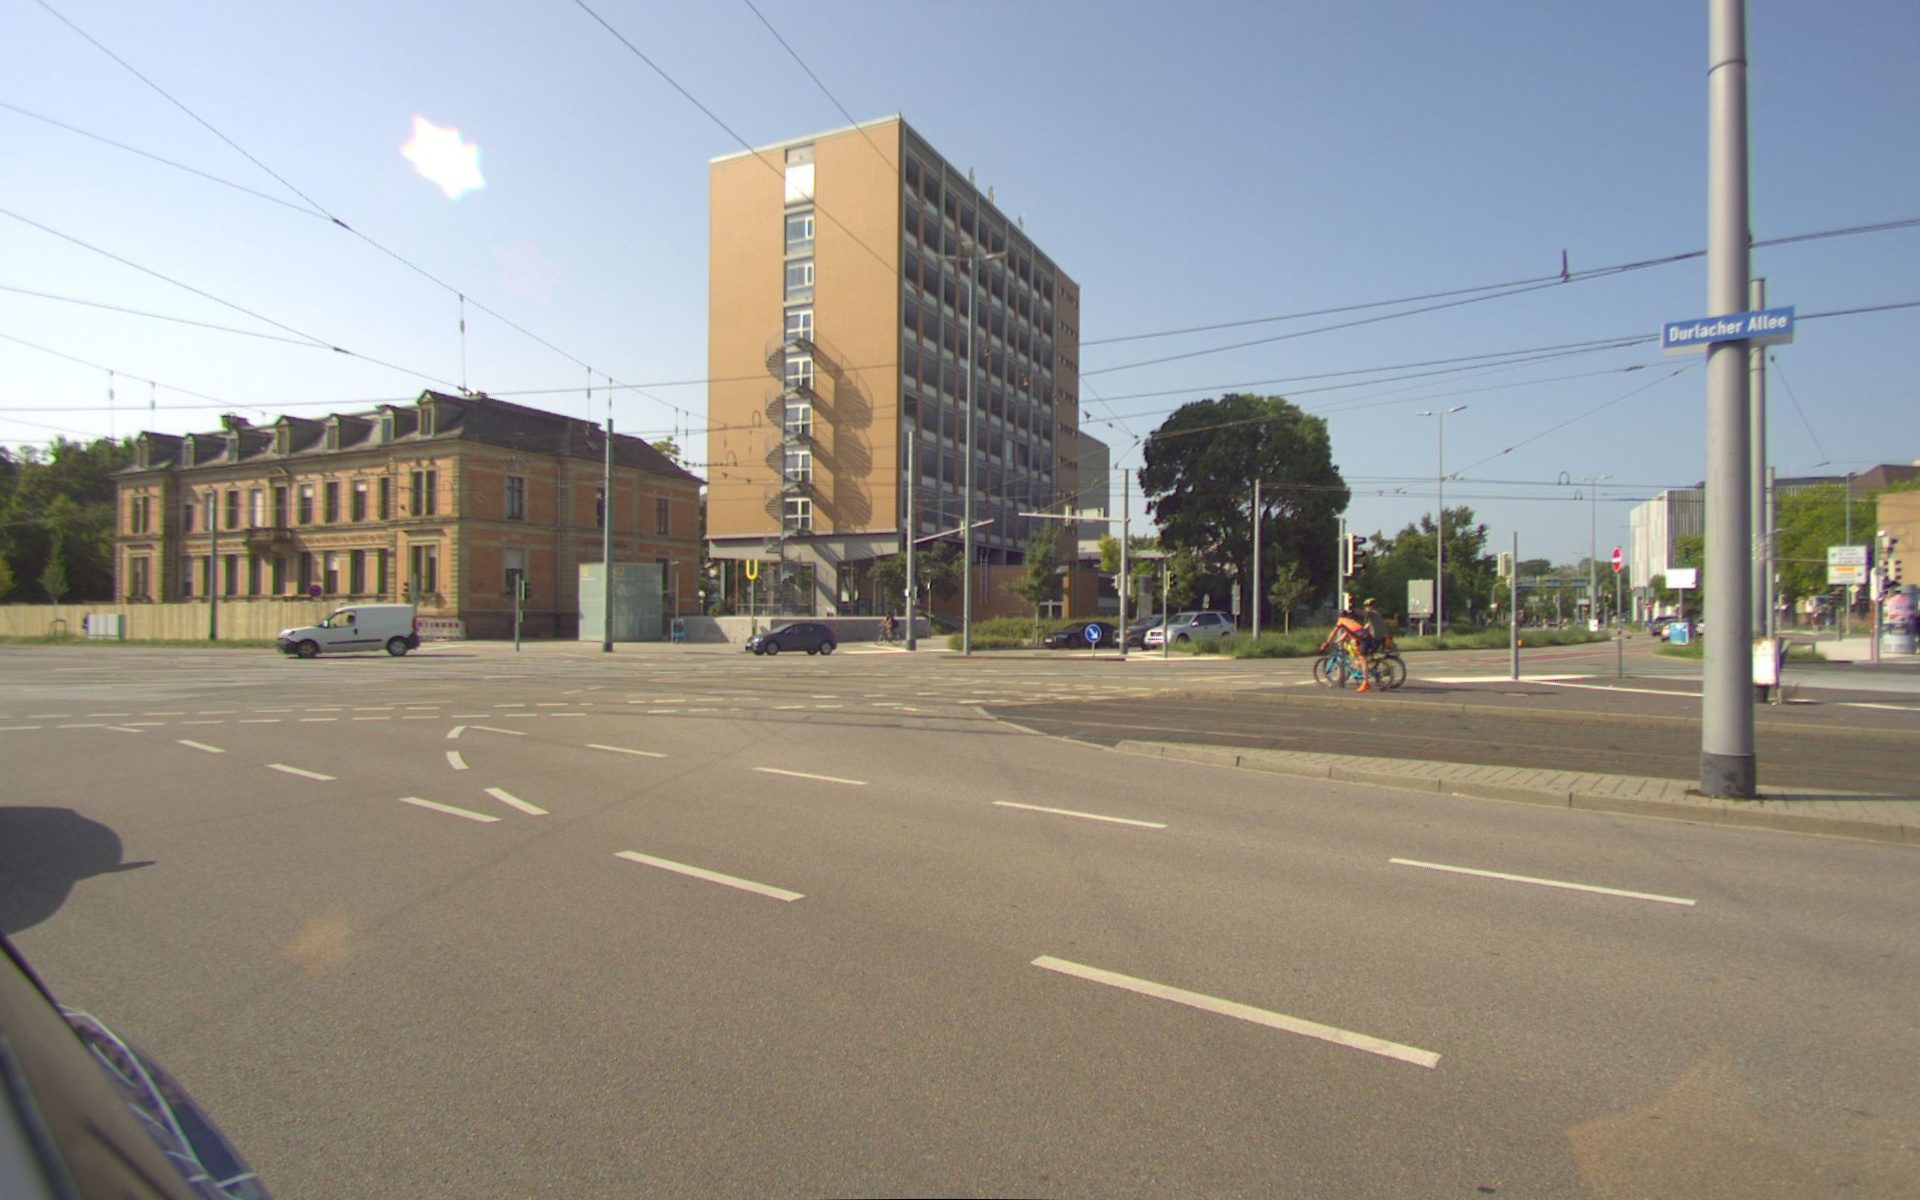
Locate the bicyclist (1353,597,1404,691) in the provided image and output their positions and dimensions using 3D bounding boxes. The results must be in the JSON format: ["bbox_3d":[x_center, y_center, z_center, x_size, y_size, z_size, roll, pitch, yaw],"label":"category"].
[{"bbox_3d":[9.063,0.938,21.911,0.571,1.989,0.809,1,-2,-37],"label":"bicyclist"}]

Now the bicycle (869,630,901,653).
[{"bbox_3d":[-3.997,2.181,53.812,1.743,1.203,0.402,1,-2,-35],"label":"bicycle"}]

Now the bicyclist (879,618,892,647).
[{"bbox_3d":[-3.962,1.725,53.811,0.540,1.491,0.398,1,-2,-34],"label":"bicyclist"}]

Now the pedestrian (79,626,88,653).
[{"bbox_3d":[-49.235,2.223,56.844,0.325,1.542,0.234,-1,-2,26],"label":"pedestrian"}]

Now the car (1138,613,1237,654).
[{"bbox_3d":[10.171,1.491,45.120,4.218,1.720,1.957,1,-4,-35],"label":"car"}]

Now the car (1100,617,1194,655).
[{"bbox_3d":[8.897,1.720,48.126,4.217,1.720,1.931,1,-4,-34],"label":"car"}]

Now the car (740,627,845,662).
[{"bbox_3d":[-7.353,1.941,44.552,4.217,1.476,1.679,1,-3,-32],"label":"car"}]

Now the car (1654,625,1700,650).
[{"bbox_3d":[45.517,2.345,64.220,1.783,1.519,3.942,-1,-2,44],"label":"car"}]

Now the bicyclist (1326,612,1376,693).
[{"bbox_3d":[8.152,1.079,21.127,0.503,1.642,0.809,1,-2,-37],"label":"bicyclist"}]

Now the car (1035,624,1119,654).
[{"bbox_3d":[6.185,2.047,53.201,4.252,1.476,1.678,1,-3,-32],"label":"car"}]

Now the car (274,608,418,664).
[{"bbox_3d":[-21.569,1.271,35.708,4.216,1.901,1.800,1,-3,-31],"label":"car"}]

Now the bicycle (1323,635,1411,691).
[{"bbox_3d":[8.883,1.359,22.154,0.371,1.174,1.863,0,-2,-36],"label":"bicycle"}]

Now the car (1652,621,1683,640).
[{"bbox_3d":[56.261,2.431,80.438,1.494,1.462,3.473,-1,-2,44],"label":"car"}]

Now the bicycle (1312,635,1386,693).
[{"bbox_3d":[8.138,1.322,21.212,0.306,1.174,1.502,0,-2,-36],"label":"bicycle"}]
